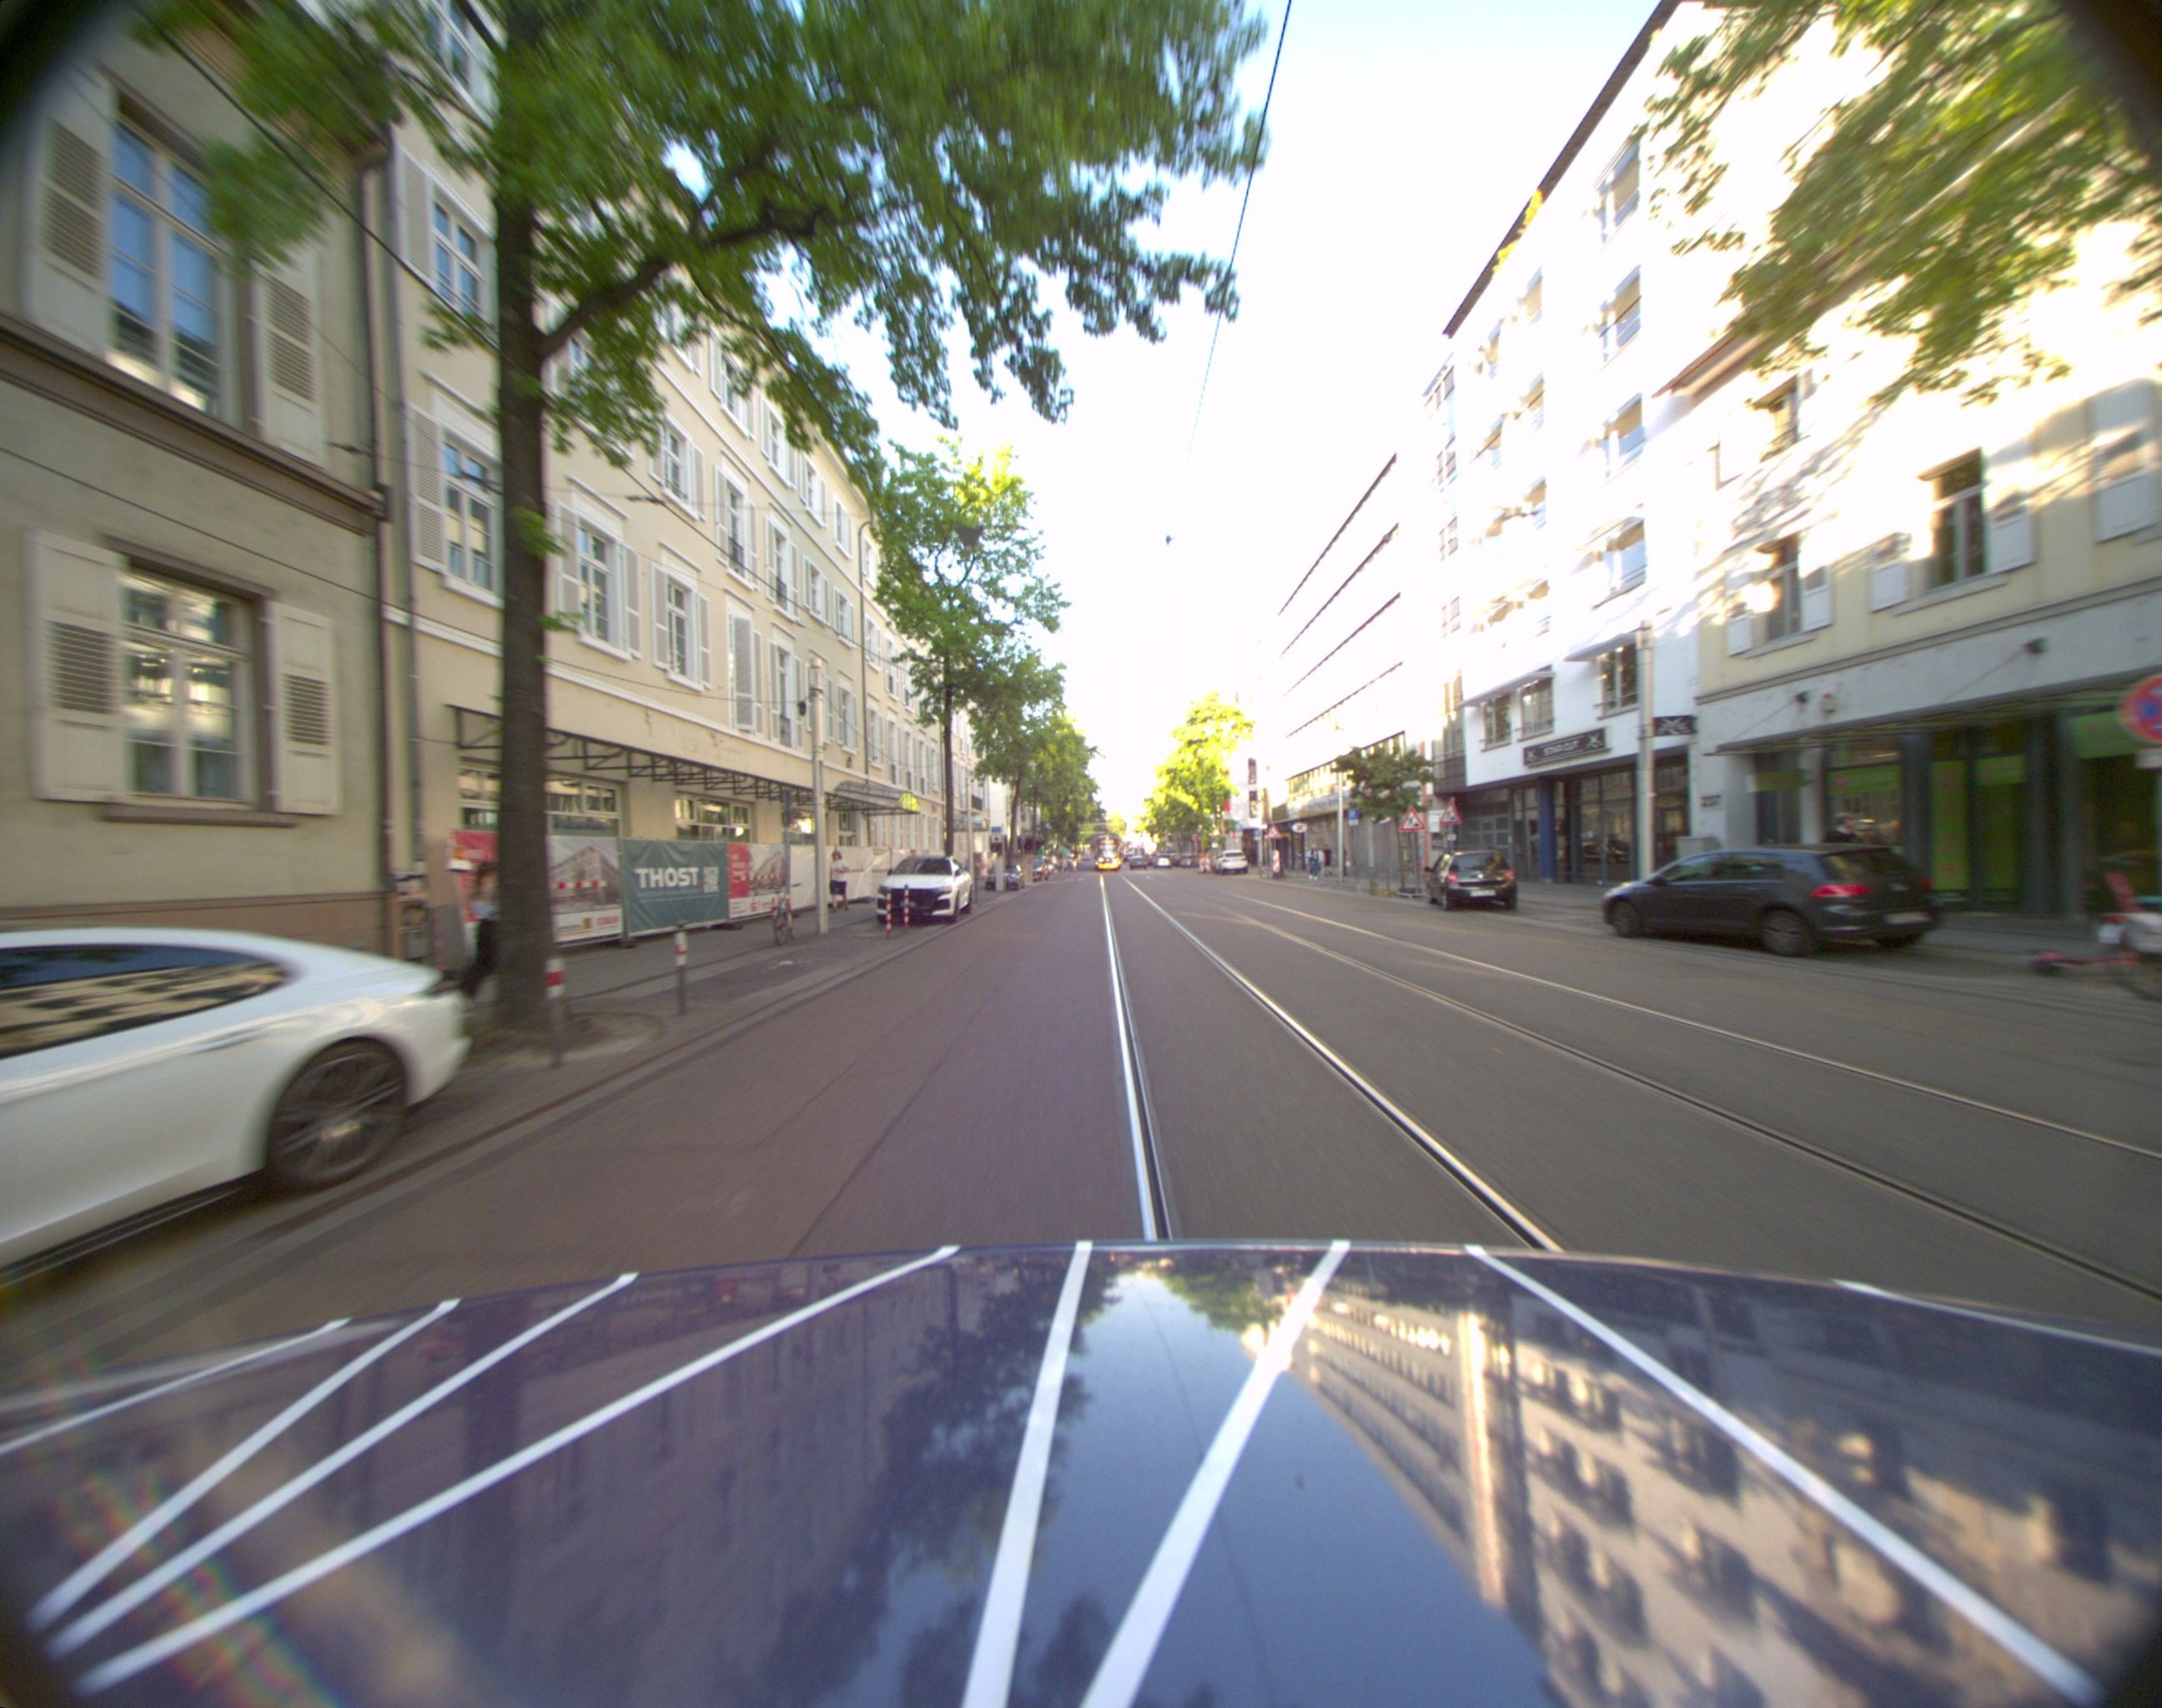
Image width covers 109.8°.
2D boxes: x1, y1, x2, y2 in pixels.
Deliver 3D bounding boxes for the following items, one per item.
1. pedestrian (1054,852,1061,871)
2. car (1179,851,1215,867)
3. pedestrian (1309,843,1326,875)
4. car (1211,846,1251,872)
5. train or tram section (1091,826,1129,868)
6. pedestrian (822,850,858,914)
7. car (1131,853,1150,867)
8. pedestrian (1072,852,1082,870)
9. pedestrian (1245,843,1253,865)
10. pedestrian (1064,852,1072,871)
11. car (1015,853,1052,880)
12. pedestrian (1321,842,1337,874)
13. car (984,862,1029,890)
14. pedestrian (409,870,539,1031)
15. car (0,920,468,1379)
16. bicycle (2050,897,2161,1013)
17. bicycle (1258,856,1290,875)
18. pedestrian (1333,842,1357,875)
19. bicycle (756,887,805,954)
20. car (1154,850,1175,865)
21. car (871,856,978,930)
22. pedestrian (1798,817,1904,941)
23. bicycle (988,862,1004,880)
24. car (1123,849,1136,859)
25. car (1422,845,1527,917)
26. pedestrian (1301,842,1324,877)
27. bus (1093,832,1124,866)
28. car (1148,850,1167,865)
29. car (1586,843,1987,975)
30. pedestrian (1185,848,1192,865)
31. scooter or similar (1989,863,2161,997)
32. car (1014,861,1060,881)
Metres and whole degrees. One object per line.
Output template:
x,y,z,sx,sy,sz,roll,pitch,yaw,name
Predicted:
-2.442,0.769,78.595,0.598,1.922,0.873,-1,0,3,pedestrian
12.787,0.528,83.993,3.404,1.551,1.786,-5,1,-24,car
12.831,0.269,41.166,0.643,1.703,0.829,-3,0,5,pedestrian
11.001,0.368,56.165,1.998,1.744,4.744,-4,0,1,car
3.054,-0.684,81.794,3.607,3.974,15.717,-1,0,2,train or tram section
-7.205,0.821,22.765,0.714,1.876,1.053,0,1,2,pedestrian
6.270,0.613,80.930,1.783,1.399,4.528,-2,0,2,car
-0.425,0.716,78.179,0.772,1.922,0.874,-1,0,10,pedestrian
15.371,0.014,69.460,0.616,2.002,0.592,-1,0,0,pedestrian
-1.338,0.741,78.665,0.672,1.922,0.873,-1,0,3,pedestrian
-3.274,0.808,53.194,1.956,1.782,4.317,0,0,5,car
13.562,0.232,41.585,0.628,1.703,0.808,-3,0,5,pedestrian
-3.808,1.089,39.471,1.798,1.304,4.329,0,0,2,car
-6.338,0.973,7.979,0.650,1.564,0.798,-2,1,1,pedestrian
-4.774,1.132,2.212,1.917,1.412,4.888,1,0,2,car
10.039,0.892,6.867,1.975,0.995,0.330,-2,1,4,bicycle
11.391,0.687,44.889,1.748,0.986,0.478,-5,0,9,bicycle
14.240,0.225,41.038,0.834,1.685,1.038,-4,0,2,pedestrian
-5.708,1.228,14.510,0.419,1.094,1.986,0,1,-8,bicycle
9.233,0.383,84.332,1.889,1.602,4.201,0,0,1,car
-4.092,0.939,20.670,2.003,1.678,4.966,0,1,-2,car
11.956,0.370,11.826,0.661,1.815,0.878,-4,0,2,pedestrian
-5.242,1.035,46.602,0.656,1.064,1.672,0,0,-18,bicycle
8.510,0.043,132.930,2.039,1.677,4.201,-2,0,1,car
10.017,0.632,19.603,1.632,1.606,3.712,-3,0,16,car
11.874,0.301,38.970,0.853,1.756,0.832,-2,0,-1,pedestrian
3.570,-0.619,99.277,3.616,3.974,17.484,-1,0,2,bus
9.541,0.439,95.562,2.039,1.796,4.201,-1,0,1,car
9.969,0.658,11.317,1.797,1.481,4.240,-3,0,-5,car
12.562,0.279,88.914,0.656,1.922,0.723,-1,0,3,pedestrian
10.261,0.762,7.727,1.422,1.263,0.375,-3,0,6,scooter or similar
-4.074,1.581,70.882,3.937,1.599,1.867,-2,2,8,car
